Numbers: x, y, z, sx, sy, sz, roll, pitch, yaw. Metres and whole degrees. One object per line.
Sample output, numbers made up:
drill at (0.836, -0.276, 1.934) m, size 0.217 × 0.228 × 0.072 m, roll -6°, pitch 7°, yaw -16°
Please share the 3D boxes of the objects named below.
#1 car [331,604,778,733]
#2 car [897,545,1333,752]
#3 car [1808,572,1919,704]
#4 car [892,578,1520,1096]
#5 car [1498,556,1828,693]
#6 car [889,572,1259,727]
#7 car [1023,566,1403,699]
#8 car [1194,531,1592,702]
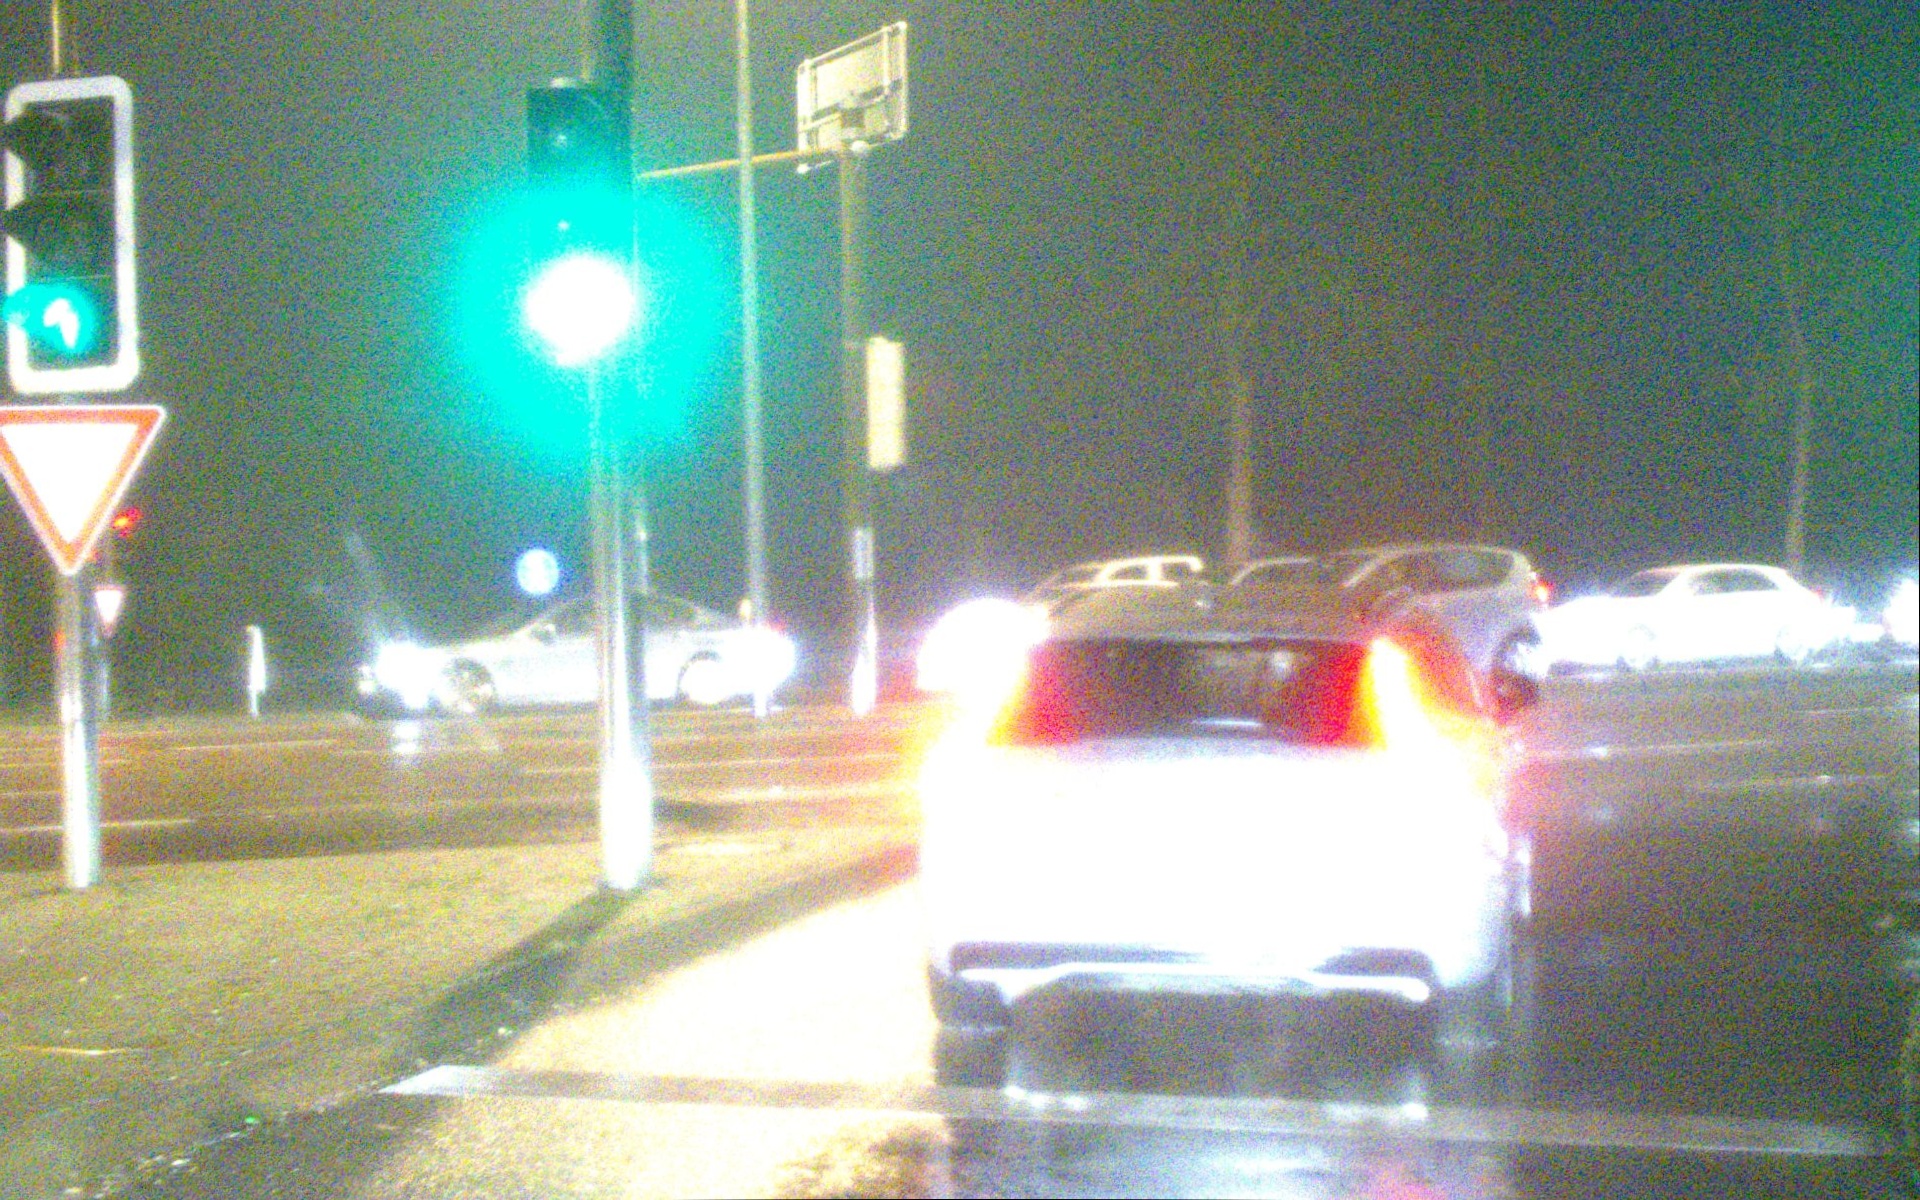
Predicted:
car at (-4.653, 0.780, 39.566) m, size 4.786 × 1.422 × 1.765 m, roll 1°, pitch -1°, yaw -27°
car at (2.146, 0.667, 47.256) m, size 5.589 × 2.701 × 2.256 m, roll 1°, pitch -1°, yaw -27°
car at (13.232, 0.496, 44.969) m, size 3.963 × 1.660 × 1.804 m, roll 1°, pitch -1°, yaw -28°
car at (1.042, 0.664, 12.083) m, size 1.797 × 1.447 × 4.267 m, roll 0°, pitch 1°, yaw 10°
car at (9.619, 0.347, 47.017) m, size 4.236 × 1.793 × 1.804 m, roll 1°, pitch -1°, yaw -28°
car at (1.430, 0.611, 42.694) m, size 4.270 × 1.842 × 1.765 m, roll 1°, pitch -1°, yaw -28°
car at (2.921, 0.385, 39.729) m, size 4.043 × 1.482 × 1.718 m, roll 1°, pitch -1°, yaw -24°
car at (4.657, 0.148, 36.967) m, size 3.888 × 1.719 × 1.766 m, roll -1°, pitch 1°, yaw -26°
